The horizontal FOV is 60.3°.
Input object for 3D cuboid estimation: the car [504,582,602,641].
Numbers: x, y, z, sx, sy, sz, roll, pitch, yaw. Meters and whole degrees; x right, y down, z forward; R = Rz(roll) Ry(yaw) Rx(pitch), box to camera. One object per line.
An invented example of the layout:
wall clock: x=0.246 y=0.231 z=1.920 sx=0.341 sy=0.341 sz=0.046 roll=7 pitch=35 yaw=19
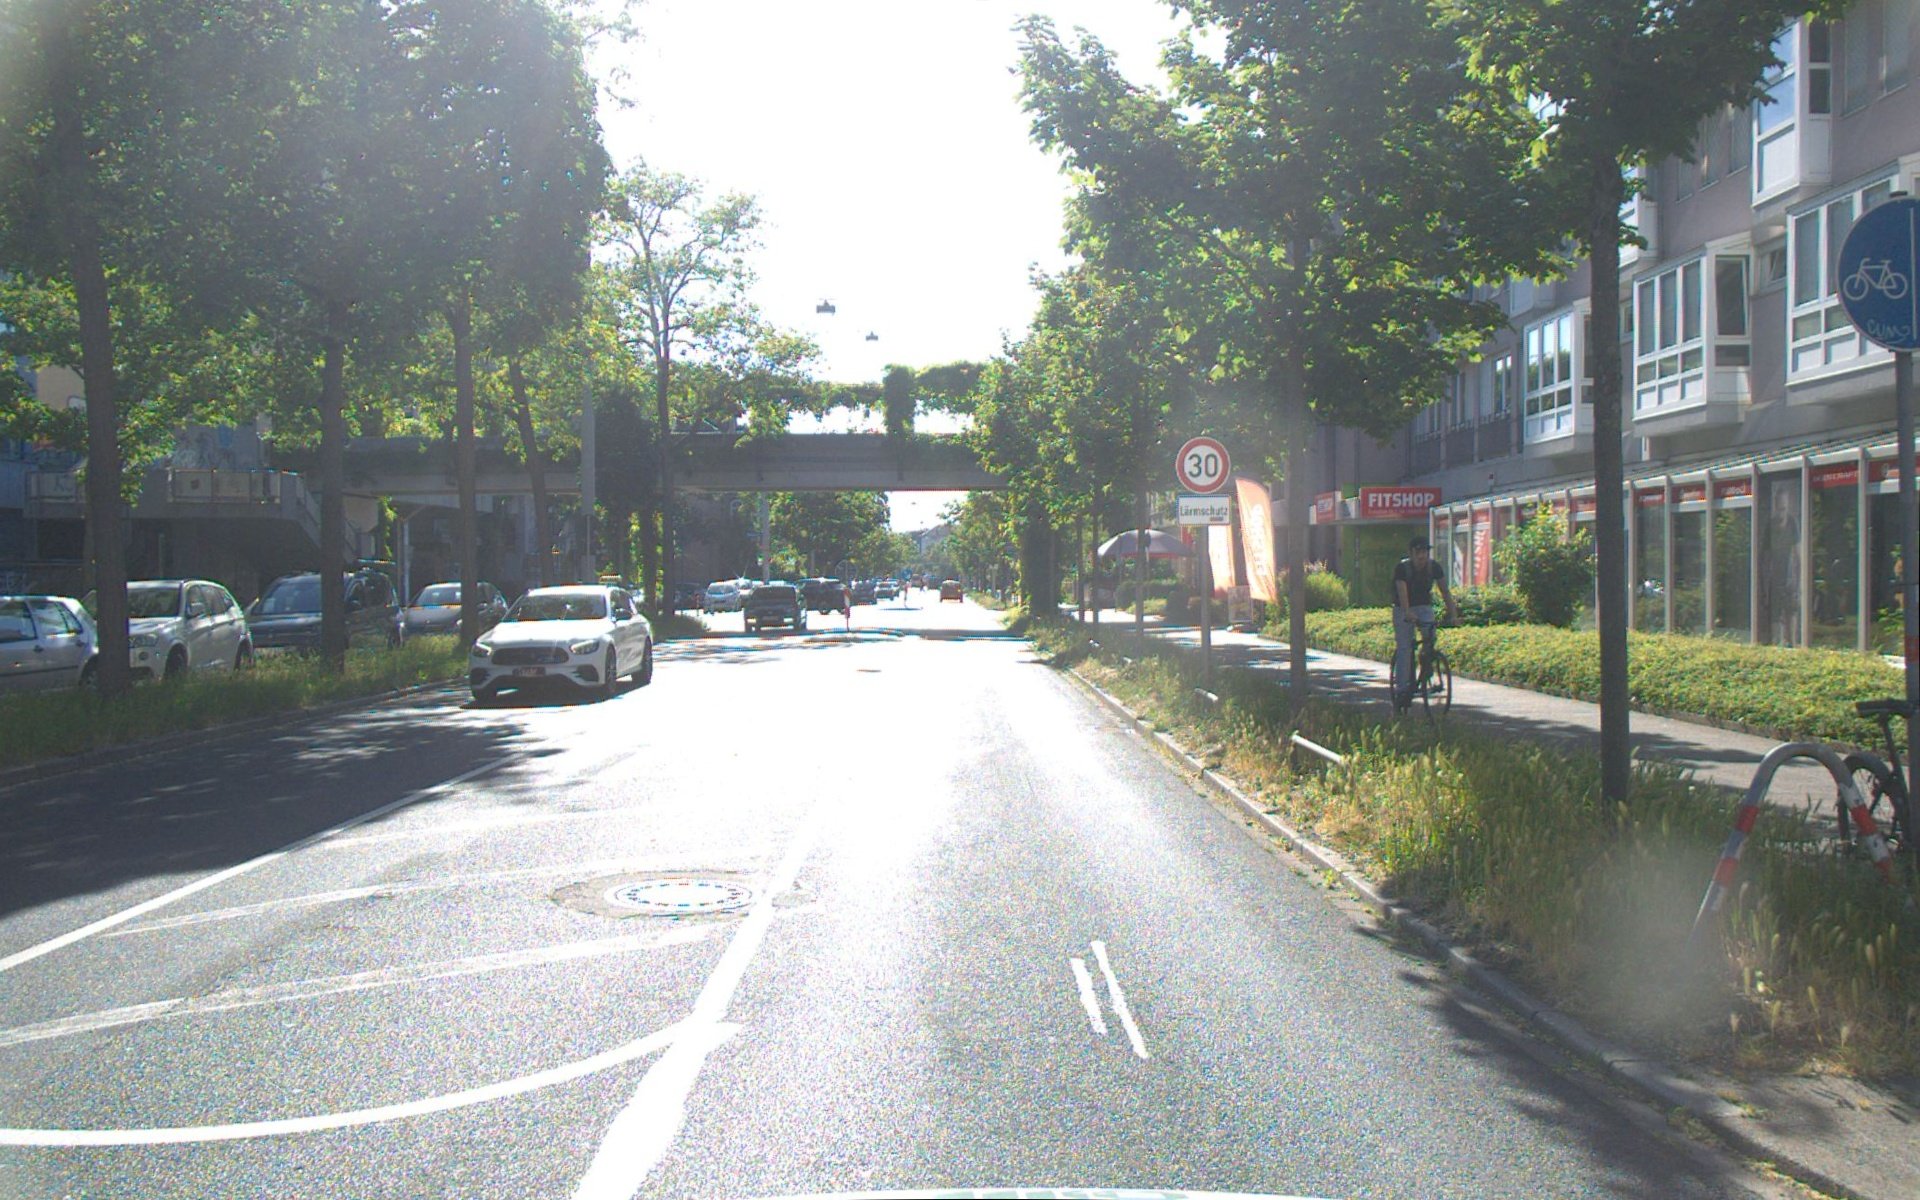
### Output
car: x=-11.519 y=0.284 z=47.050 sx=1.818 sy=1.549 sz=4.317 roll=1 pitch=1 yaw=-2

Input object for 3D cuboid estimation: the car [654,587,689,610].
car: x=-20.159 y=-0.116 z=115.645 sx=1.818 sy=1.549 sz=4.317 roll=1 pitch=1 yaw=-2

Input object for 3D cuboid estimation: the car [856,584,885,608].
car: x=-6.031 y=-0.256 z=111.959 sx=1.818 sy=1.549 sz=4.317 roll=1 pitch=1 yaw=-2

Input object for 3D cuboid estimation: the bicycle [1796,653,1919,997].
bicycle: x=3.802 y=0.801 z=6.448 sx=0.578 sy=1.084 sz=2.024 roll=0 pitch=1 yaw=15

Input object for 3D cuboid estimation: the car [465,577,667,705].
car: x=-5.531 y=0.493 z=23.829 sx=1.818 sy=1.595 sz=4.714 roll=-2 pitch=1 yaw=-1

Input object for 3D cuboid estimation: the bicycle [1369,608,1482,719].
bicycle: x=4.693 y=0.610 z=16.772 sx=0.577 sy=1.045 sz=1.859 roll=0 pitch=0 yaw=-2

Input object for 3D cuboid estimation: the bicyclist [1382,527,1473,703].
bicyclist: x=4.705 y=0.149 z=16.687 sx=0.654 sy=1.725 sz=0.889 roll=0 pitch=0 yaw=-1

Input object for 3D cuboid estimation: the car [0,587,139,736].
car: x=-11.179 y=0.656 z=18.589 sx=1.817 sy=1.549 sz=4.064 roll=1 pitch=1 yaw=1

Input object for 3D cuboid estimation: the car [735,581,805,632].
car: x=-6.036 y=0.176 z=53.024 sx=1.818 sy=1.465 sz=4.317 roll=-2 pitch=1 yaw=-2

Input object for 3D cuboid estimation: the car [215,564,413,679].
car: x=-11.360 y=0.318 z=29.425 sx=1.818 sy=1.882 sz=4.561 roll=1 pitch=1 yaw=-2

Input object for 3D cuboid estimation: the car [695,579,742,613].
car: x=-11.784 y=-0.216 z=80.956 sx=1.818 sy=1.549 sz=4.076 roll=1 pitch=1 yaw=-2

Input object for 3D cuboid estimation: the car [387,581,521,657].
car: x=-11.356 y=0.395 z=37.358 sx=1.818 sy=1.595 sz=3.871 roll=1 pitch=1 yaw=0

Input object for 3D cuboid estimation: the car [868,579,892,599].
car: x=-6.530 y=-0.899 z=135.076 sx=1.818 sy=1.549 sz=4.317 roll=1 pitch=1 yaw=-2

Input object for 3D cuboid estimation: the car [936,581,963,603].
car: x=-0.752 y=-0.600 z=119.550 sx=1.817 sy=1.549 sz=4.319 roll=1 pitch=1 yaw=1

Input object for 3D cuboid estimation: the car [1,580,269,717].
car: x=-11.389 y=0.590 z=23.225 sx=1.820 sy=1.713 sz=4.659 roll=0 pitch=1 yaw=-6
